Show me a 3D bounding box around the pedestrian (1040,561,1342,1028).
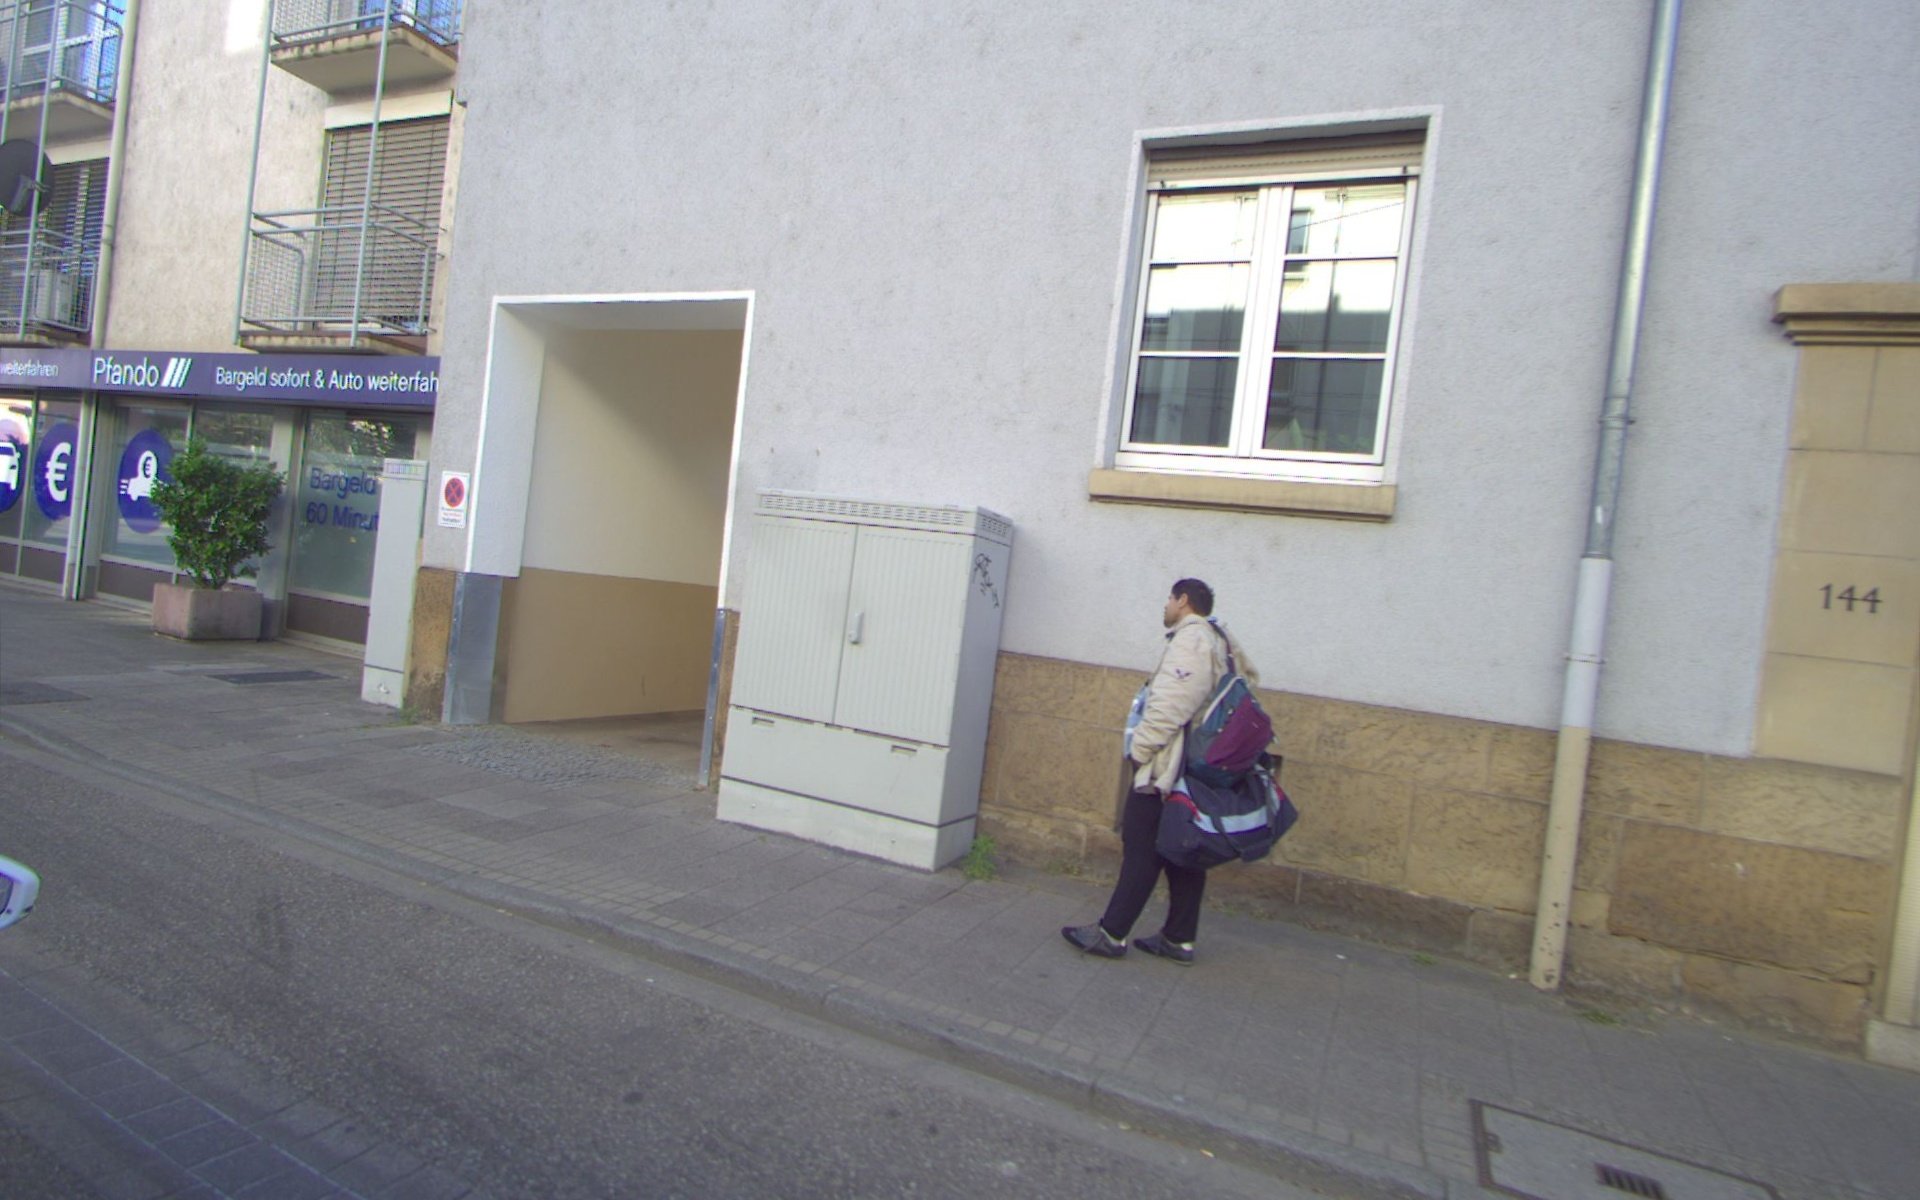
[{"bbox_3d":[0.947,0.683,4.032,0.854,1.555,0.826,7,3,26],"label":"pedestrian"}]
